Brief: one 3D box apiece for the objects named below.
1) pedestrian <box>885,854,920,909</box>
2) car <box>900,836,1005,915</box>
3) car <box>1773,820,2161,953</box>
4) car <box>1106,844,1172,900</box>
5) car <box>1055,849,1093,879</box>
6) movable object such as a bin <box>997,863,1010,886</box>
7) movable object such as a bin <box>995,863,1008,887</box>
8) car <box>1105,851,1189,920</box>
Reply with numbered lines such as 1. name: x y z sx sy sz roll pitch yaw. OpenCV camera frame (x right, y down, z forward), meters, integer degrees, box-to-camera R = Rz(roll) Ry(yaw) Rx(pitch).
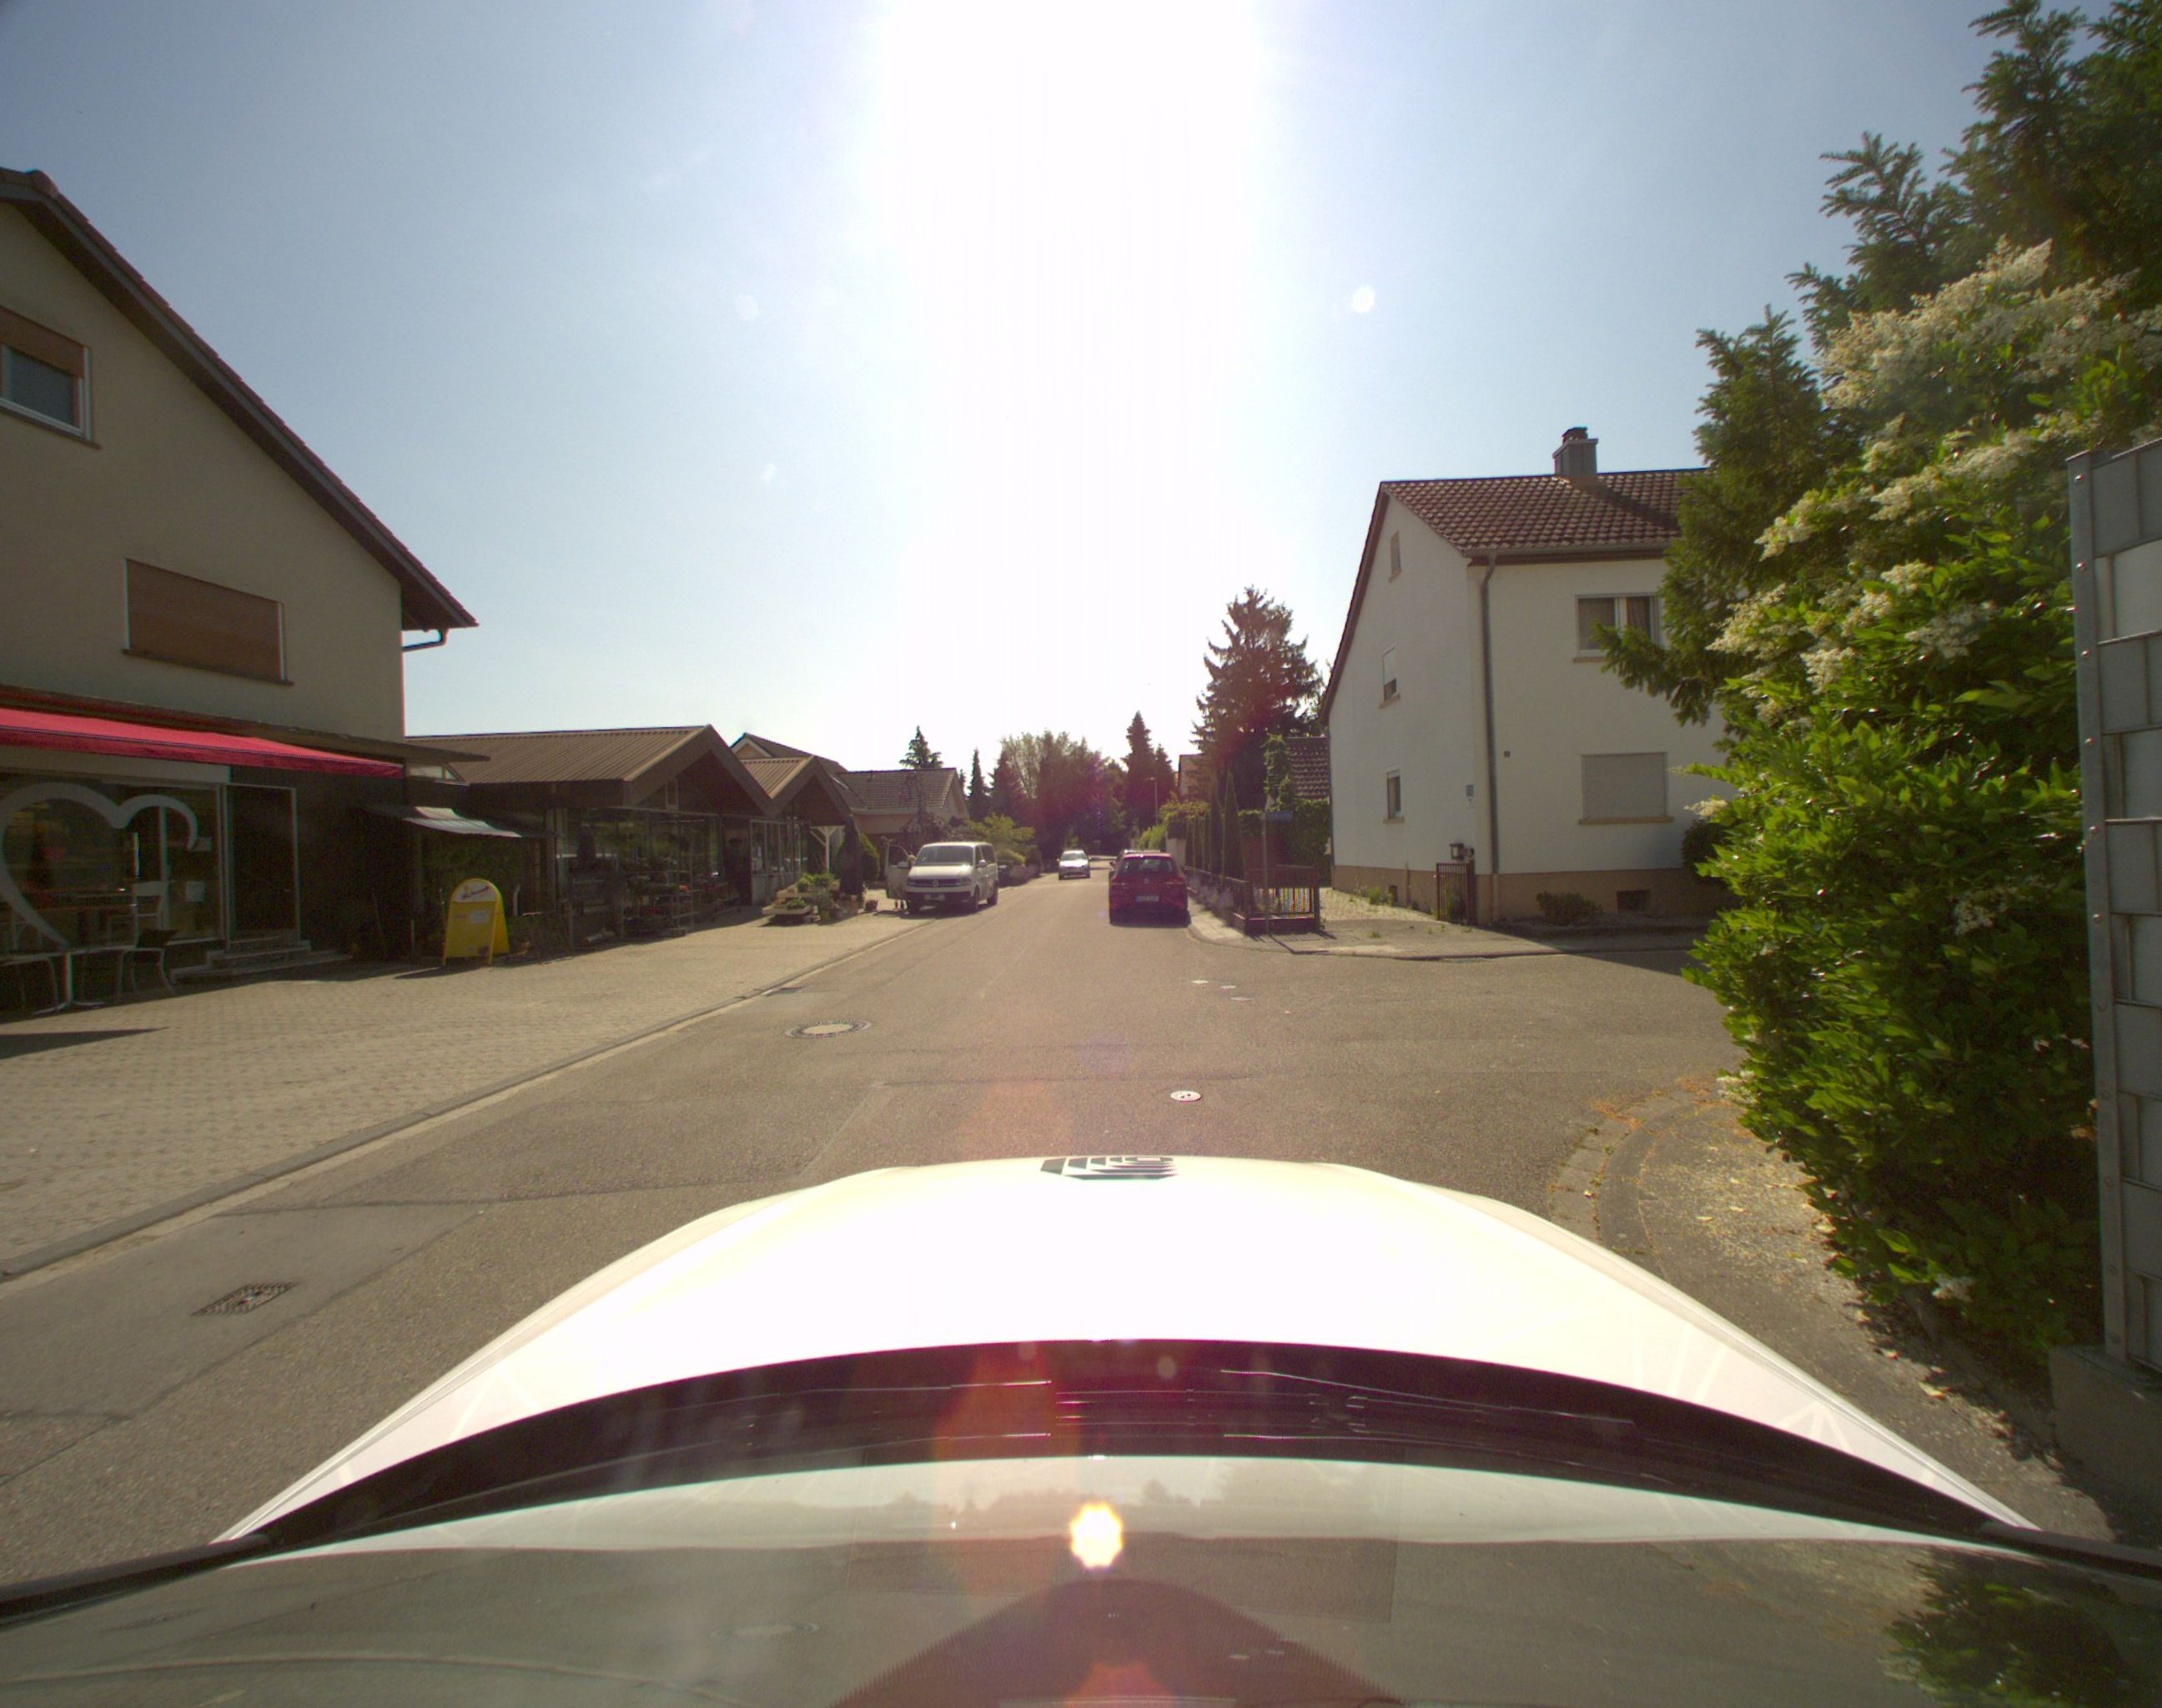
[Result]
1. pedestrian: -5.163 0.780 23.538 0.710 1.538 0.646 -1 1 35
2. car: -3.605 0.554 23.832 1.920 2.013 4.901 -2 0 4
3. car: 11.968 0.387 10.823 3.971 1.530 1.798 -2 0 1
4. car: 1.775 0.528 26.123 1.817 1.615 3.999 -1 0 0
5. car: -0.319 0.509 44.378 1.745 1.487 4.379 -2 0 3
6. movable object such as a bin: -3.558 0.948 37.459 0.492 1.024 0.448 -2 0 2
7. movable object such as a bin: -3.612 0.952 36.960 0.492 1.024 0.448 -2 0 2
8. car: 1.609 0.662 19.325 1.766 1.479 4.007 0 0 6
